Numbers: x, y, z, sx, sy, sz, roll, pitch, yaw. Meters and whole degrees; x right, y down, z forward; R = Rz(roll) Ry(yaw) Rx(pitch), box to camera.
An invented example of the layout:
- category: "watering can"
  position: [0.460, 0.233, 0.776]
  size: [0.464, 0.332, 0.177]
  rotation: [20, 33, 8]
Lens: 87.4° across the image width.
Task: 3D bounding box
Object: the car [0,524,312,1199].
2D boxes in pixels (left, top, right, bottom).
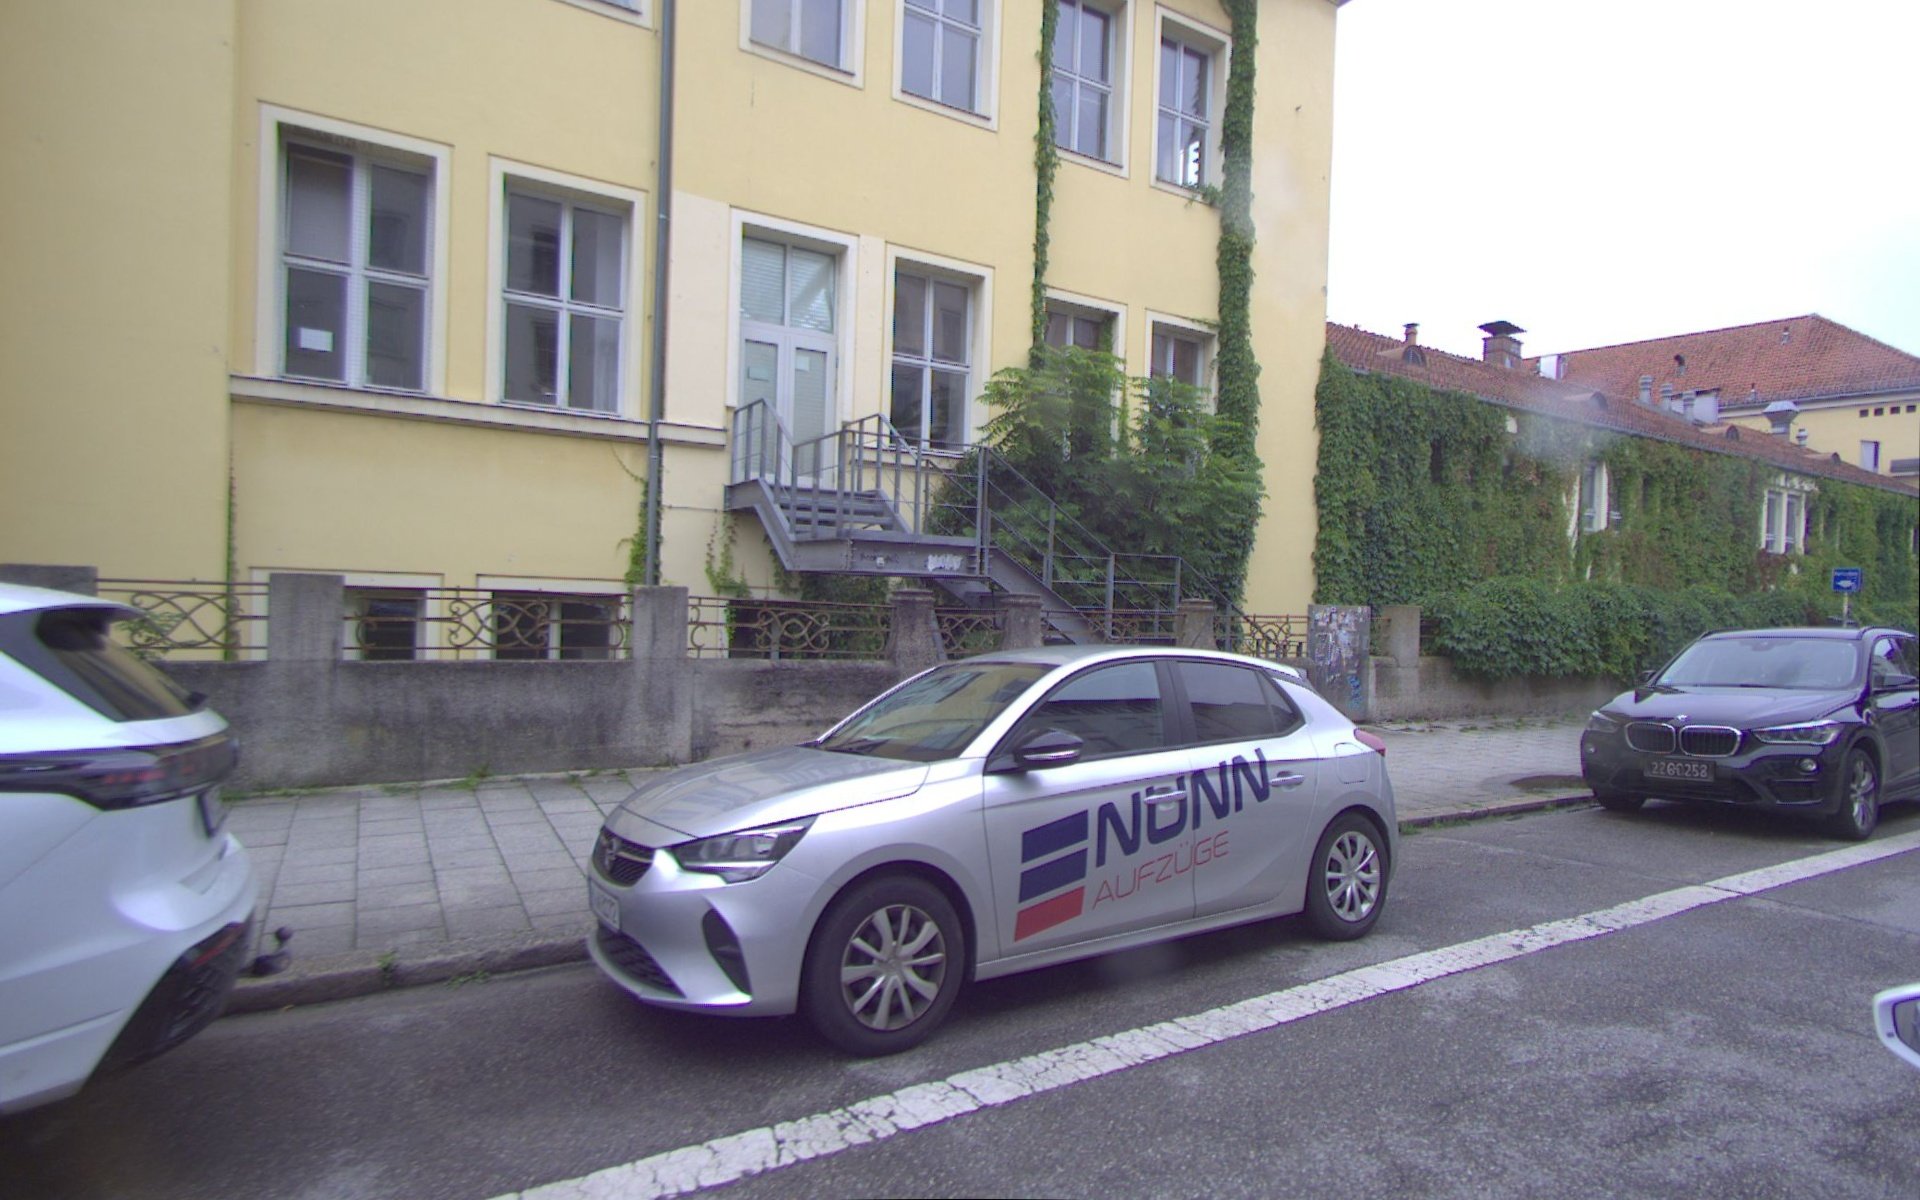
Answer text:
- category: "car"
  position: [-3.901, 0.653, 2.034]
  size: [4.312, 1.655, 1.670]
  rotation: [2, -3, -34]

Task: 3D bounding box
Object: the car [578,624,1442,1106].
- category: "car"
  position: [0.363, 0.896, 4.794]
  size: [3.851, 1.444, 1.671]
  rotation: [2, -4, -32]

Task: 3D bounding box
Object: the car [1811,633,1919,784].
- category: "car"
  position: [11.637, 1.174, 11.501]
  size: [4.104, 1.558, 1.772]
  rotation: [2, -3, -33]

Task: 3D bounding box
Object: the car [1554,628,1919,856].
- category: "car"
  position: [7.208, 1.068, 8.809]
  size: [4.150, 1.558, 1.772]
  rotation: [2, -3, -33]

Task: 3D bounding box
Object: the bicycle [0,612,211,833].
- category: "bicycle"
  position: [-5.449, 0.700, 5.946]
  size: [1.544, 1.205, 0.574]
  rotation: [2, 3, -31]
